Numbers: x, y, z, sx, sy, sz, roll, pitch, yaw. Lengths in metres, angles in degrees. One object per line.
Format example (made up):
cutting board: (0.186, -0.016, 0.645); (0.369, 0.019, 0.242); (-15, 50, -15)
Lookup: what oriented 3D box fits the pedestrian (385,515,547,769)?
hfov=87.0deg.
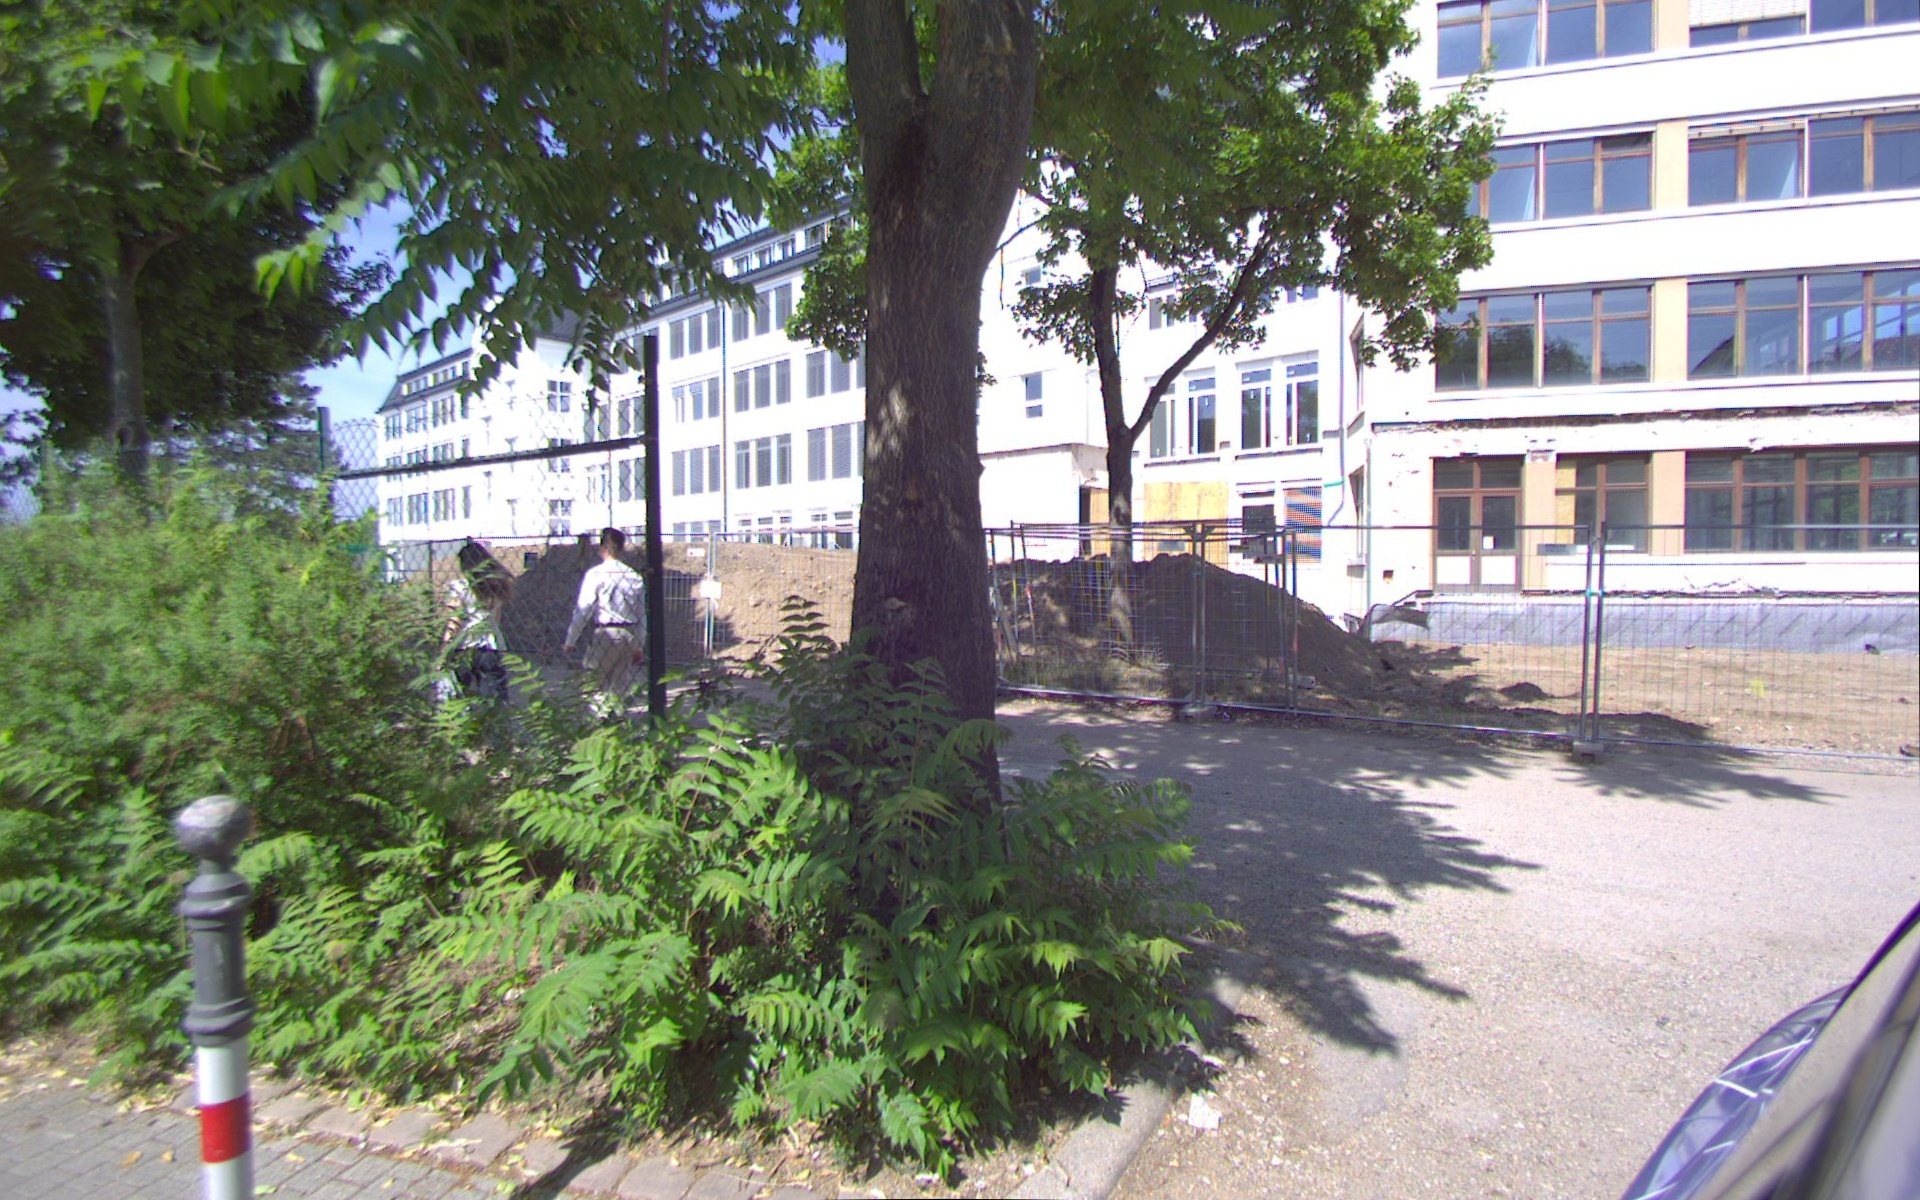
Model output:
pedestrian: (-3.470, 0.259, 7.126); (0.775, 1.660, 0.729); (2, 1, 33)

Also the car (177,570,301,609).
car: (-31.534, -0.483, 44.340); (1.754, 1.638, 4.243); (1, 1, 45)

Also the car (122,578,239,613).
car: (-38.212, -0.259, 49.685); (1.994, 1.638, 4.359); (1, 2, 45)

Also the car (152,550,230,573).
car: (-55.034, -2.755, 72.495); (1.547, 1.622, 4.295); (1, 2, 45)

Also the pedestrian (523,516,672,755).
pedestrian: (-2.854, 0.245, 7.978); (0.849, 1.749, 0.748); (2, 1, 35)

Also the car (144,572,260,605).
car: (-35.704, -0.580, 47.738); (1.994, 1.479, 4.145); (1, 1, 44)

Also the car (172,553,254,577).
car: (-52.611, -2.473, 71.310); (1.547, 1.622, 4.505); (1, 2, 45)
